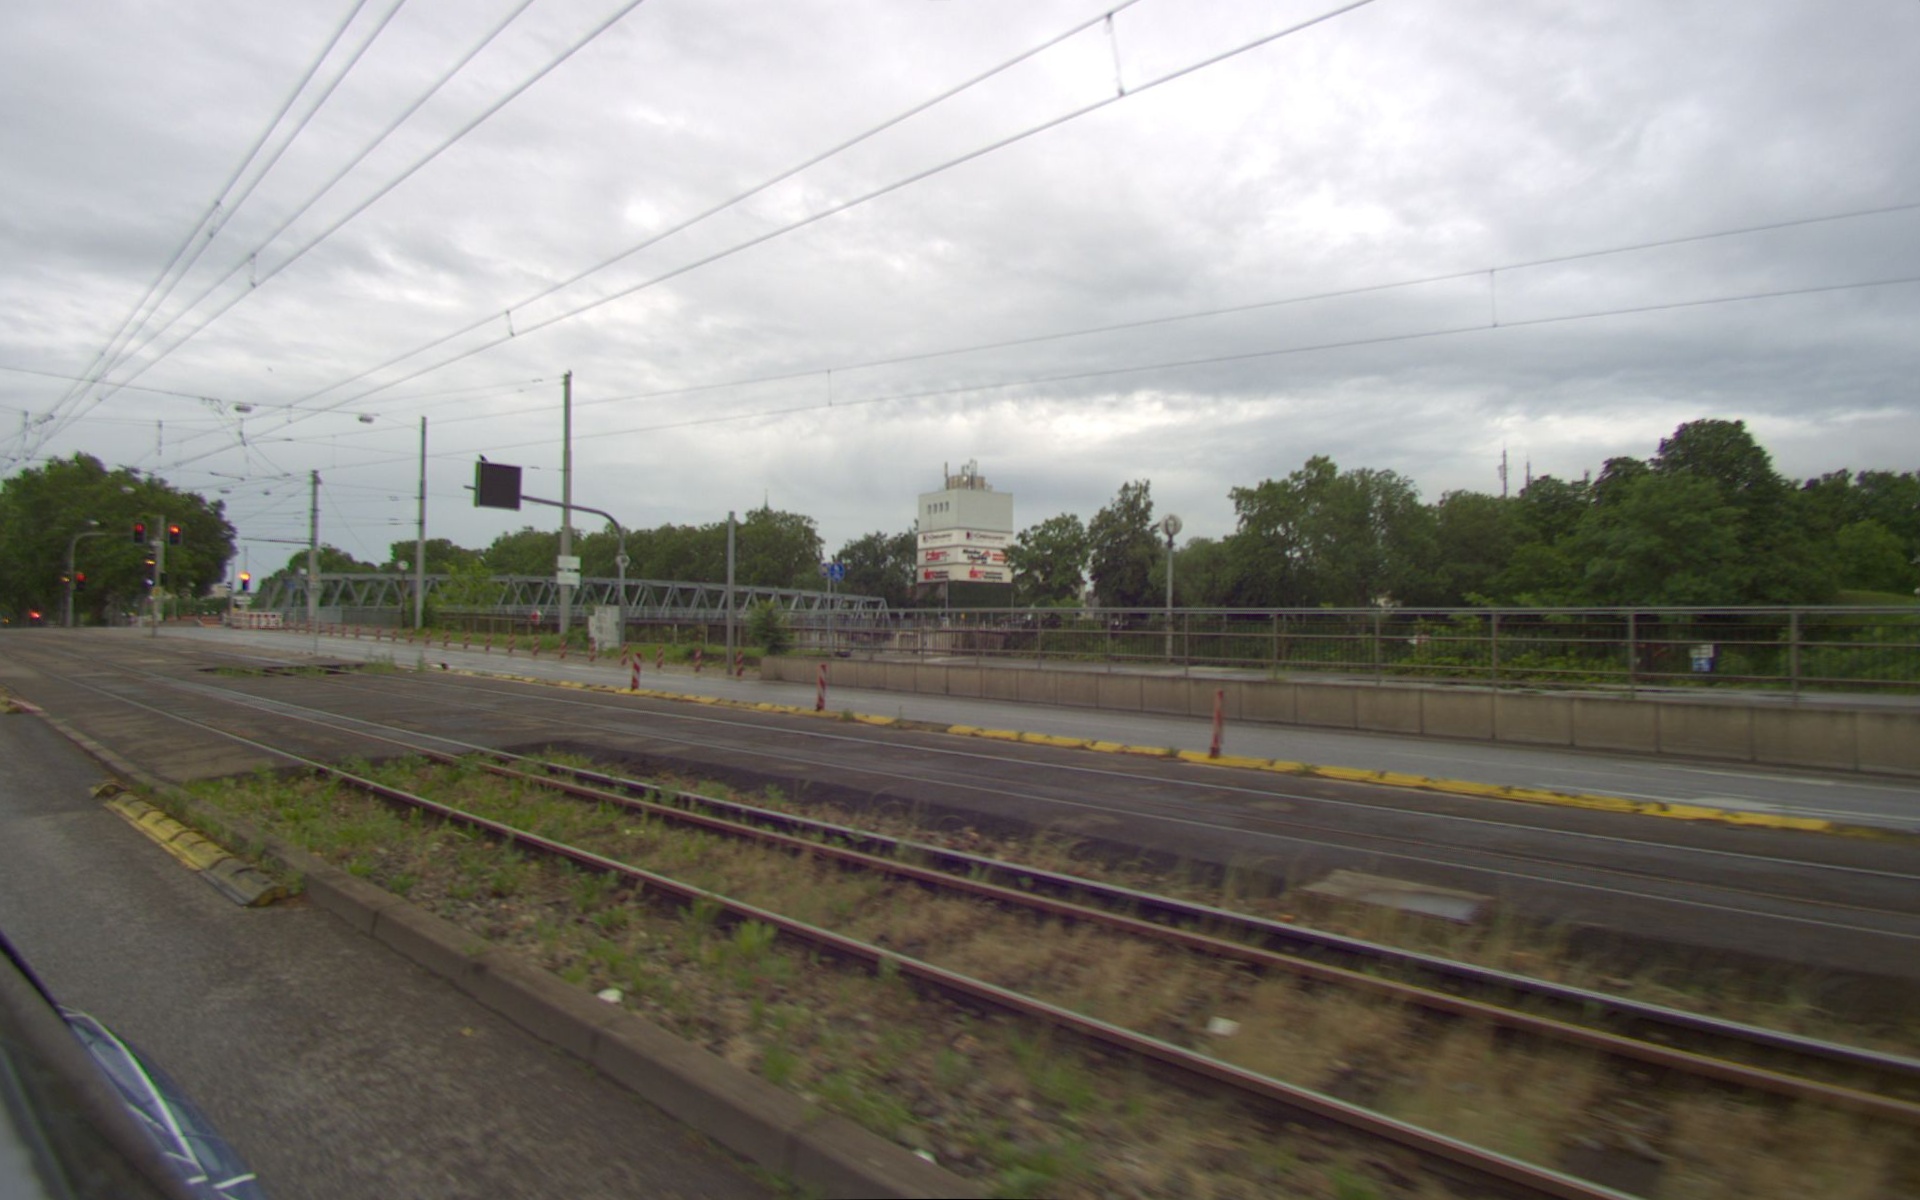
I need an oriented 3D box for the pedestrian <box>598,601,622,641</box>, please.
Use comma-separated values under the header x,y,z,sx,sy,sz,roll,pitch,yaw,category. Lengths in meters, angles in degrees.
x,y,z,sx,sy,sz,roll,pitch,yaw,category
-14.835,0.888,42.889,0.618,1.700,0.756,-1,-2,40,pedestrian
